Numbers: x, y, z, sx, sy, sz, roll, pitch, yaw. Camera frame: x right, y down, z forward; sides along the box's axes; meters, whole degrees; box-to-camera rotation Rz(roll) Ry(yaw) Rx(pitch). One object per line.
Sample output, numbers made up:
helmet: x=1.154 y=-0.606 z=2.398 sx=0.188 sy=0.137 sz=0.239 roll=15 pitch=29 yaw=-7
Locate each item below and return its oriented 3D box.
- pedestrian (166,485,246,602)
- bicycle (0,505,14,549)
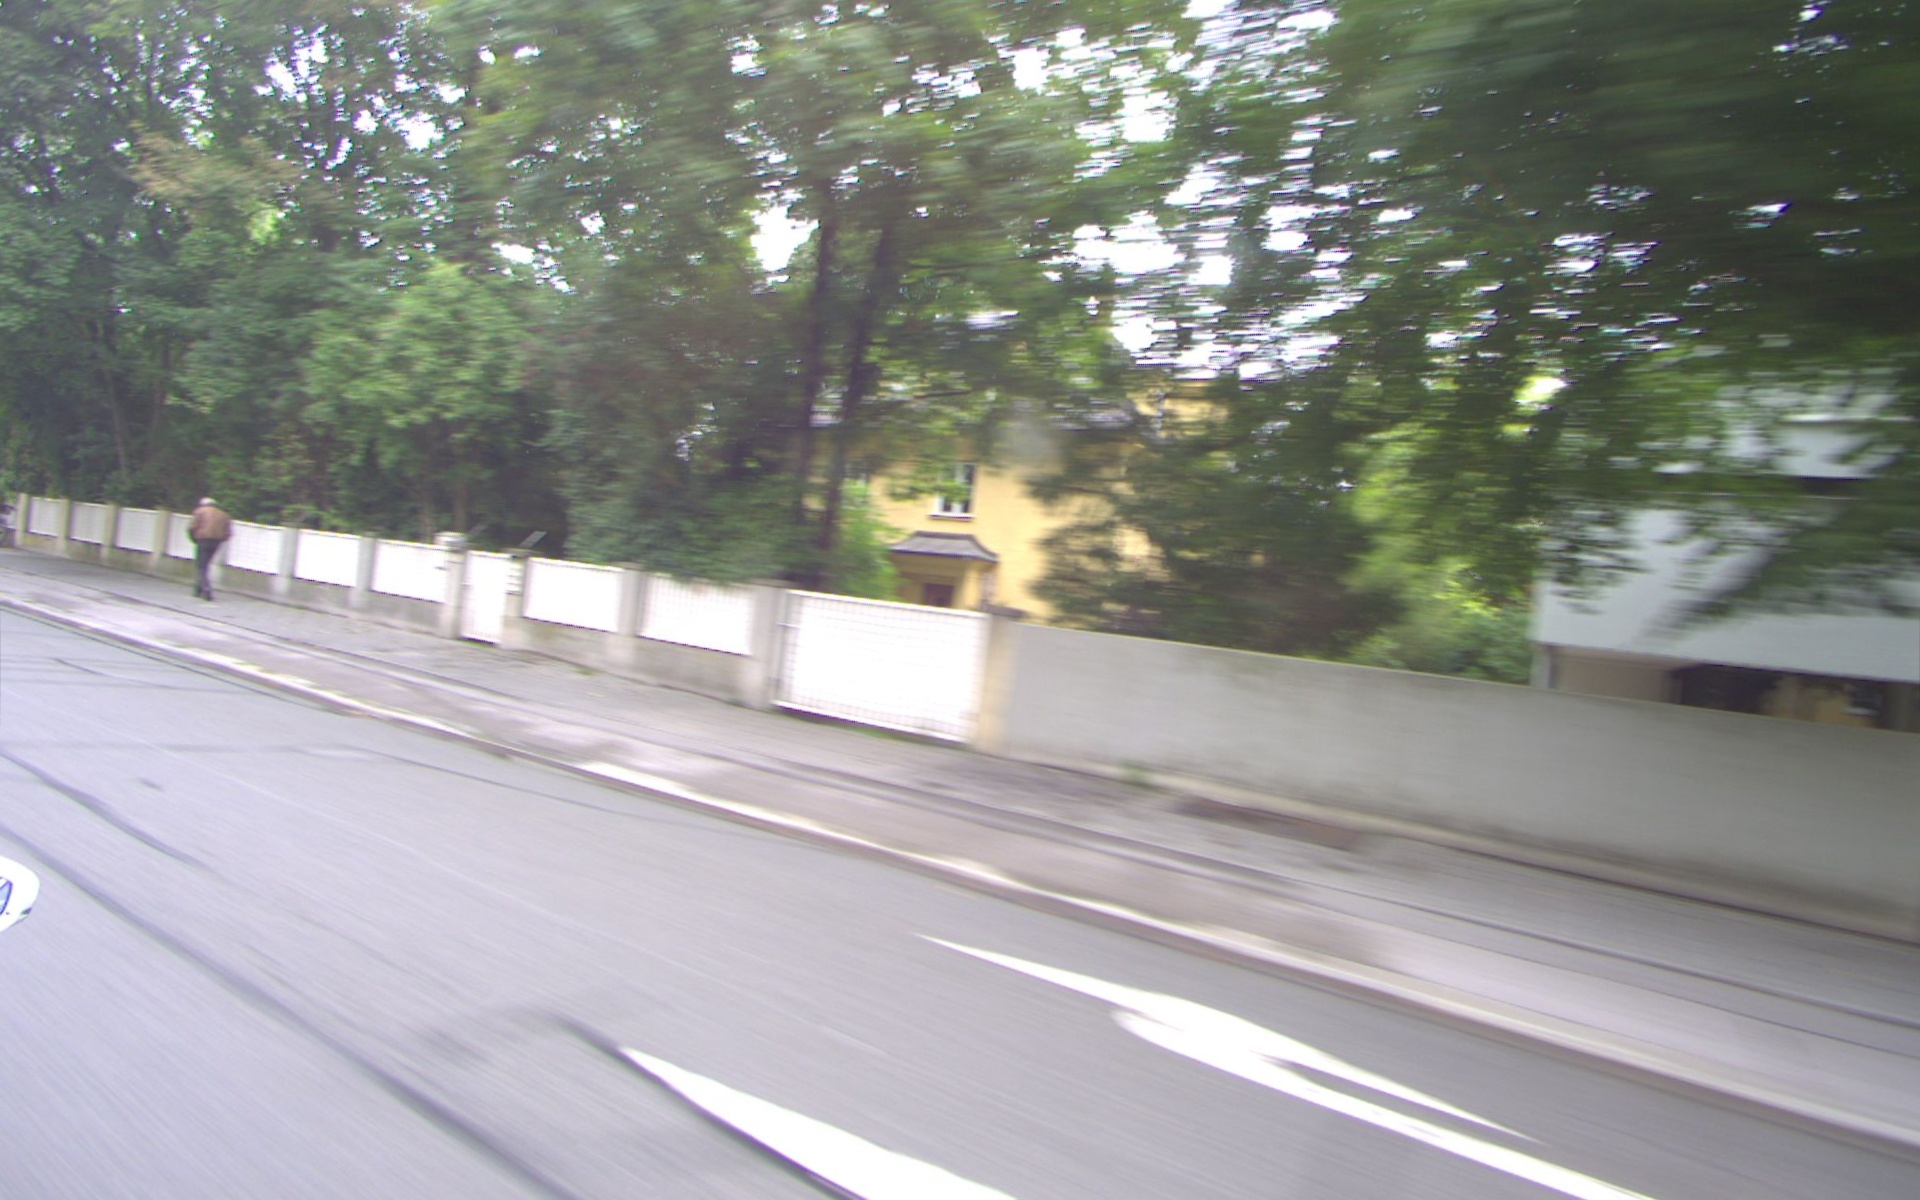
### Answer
pedestrian: x=-13.509 y=-0.999 z=18.026 sx=0.789 sy=1.967 sz=0.778 roll=7 pitch=1 yaw=31
bicycle: x=-25.763 y=-1.993 z=26.514 sx=1.992 sy=1.104 sz=0.623 roll=7 pitch=0 yaw=31
